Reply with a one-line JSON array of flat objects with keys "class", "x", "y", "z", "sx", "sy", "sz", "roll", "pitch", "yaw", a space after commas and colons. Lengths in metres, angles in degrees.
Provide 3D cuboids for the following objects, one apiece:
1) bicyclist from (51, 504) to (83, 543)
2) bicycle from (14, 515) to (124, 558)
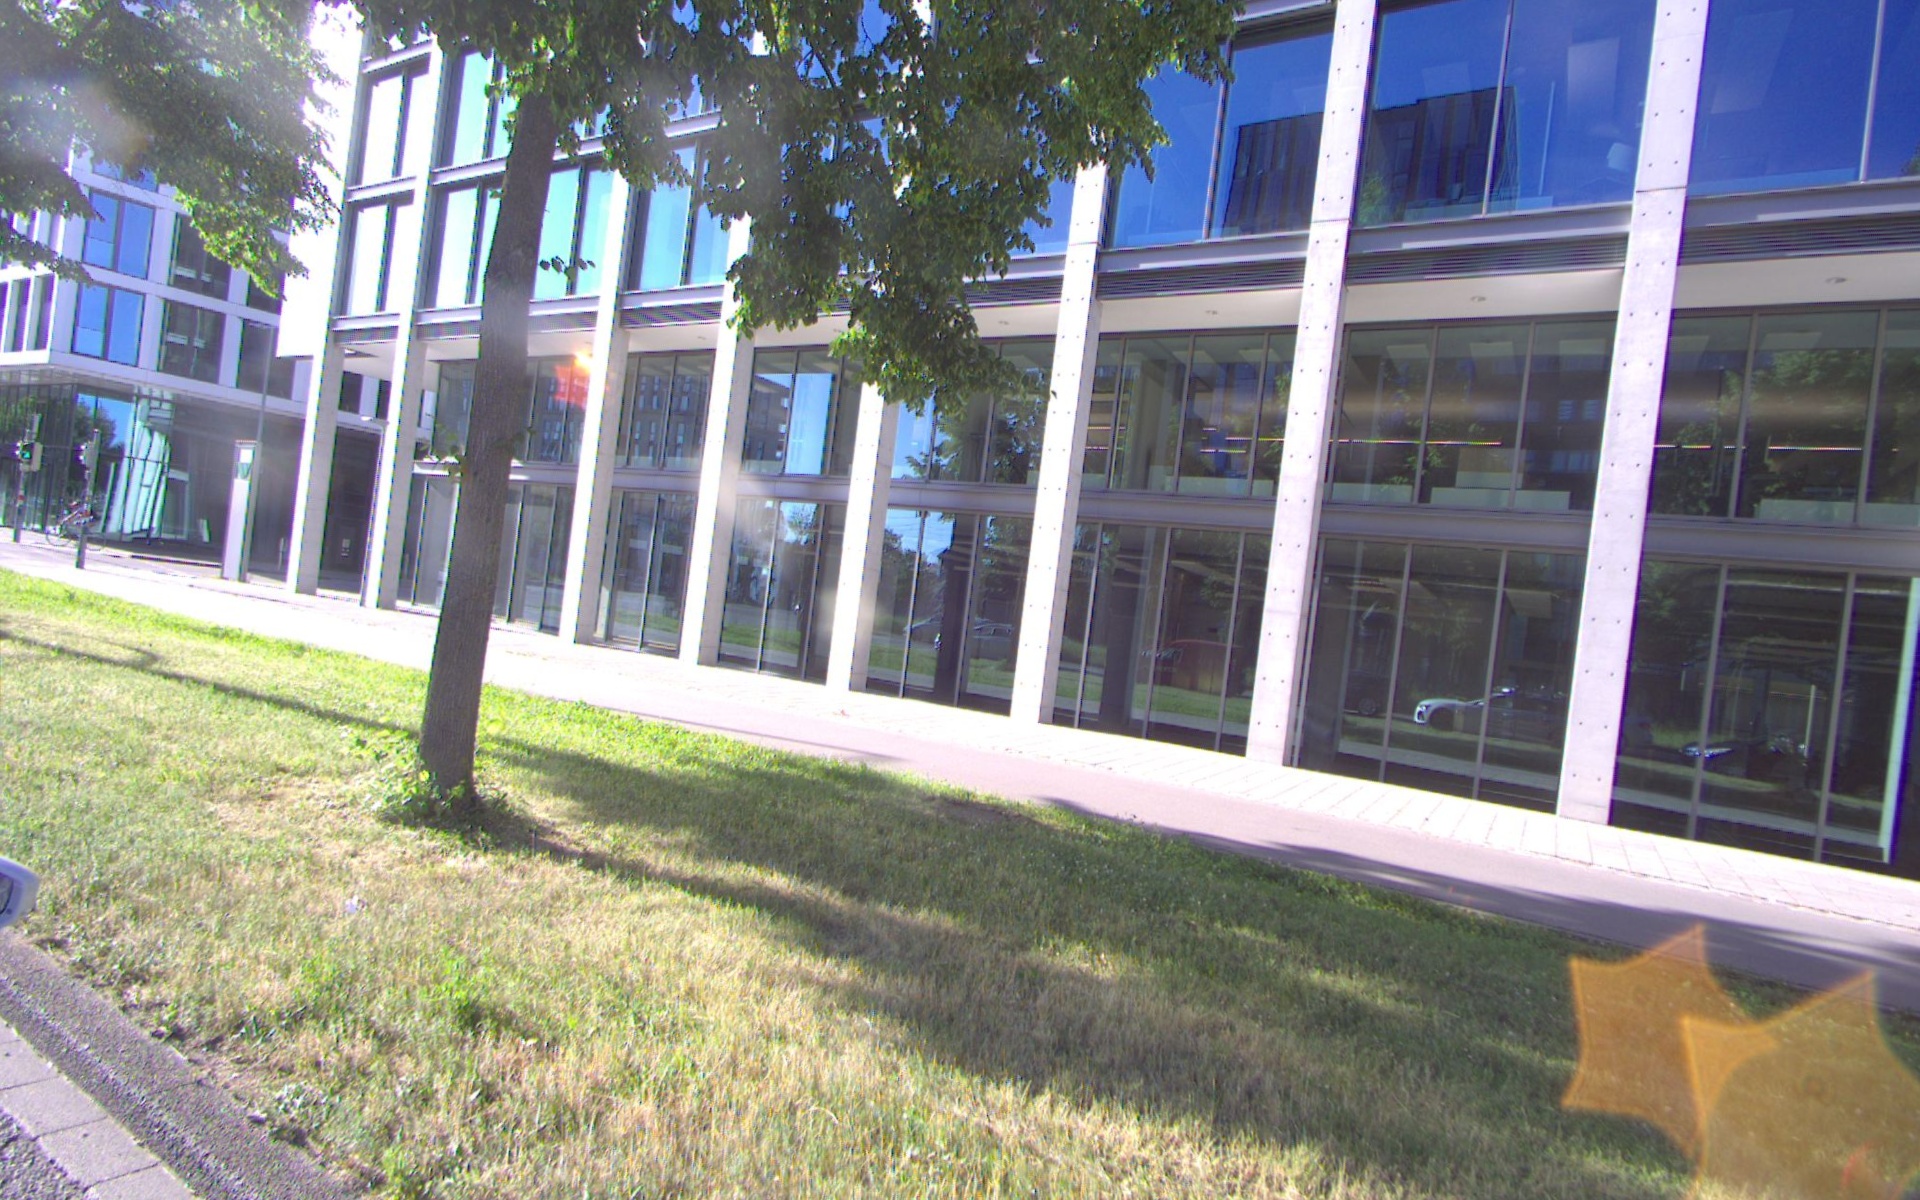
[{"class": "bicyclist", "x": -32.496, "y": -2.779, "z": 36.616, "sx": 0.809, "sy": 1.290, "sz": 0.680, "roll": 7, "pitch": 0, "yaw": 41}, {"class": "bicycle", "x": -32.468, "y": -2.291, "z": 36.707, "sx": 0.809, "sy": 1.128, "sz": 2.834, "roll": 7, "pitch": -1, "yaw": 41}]
